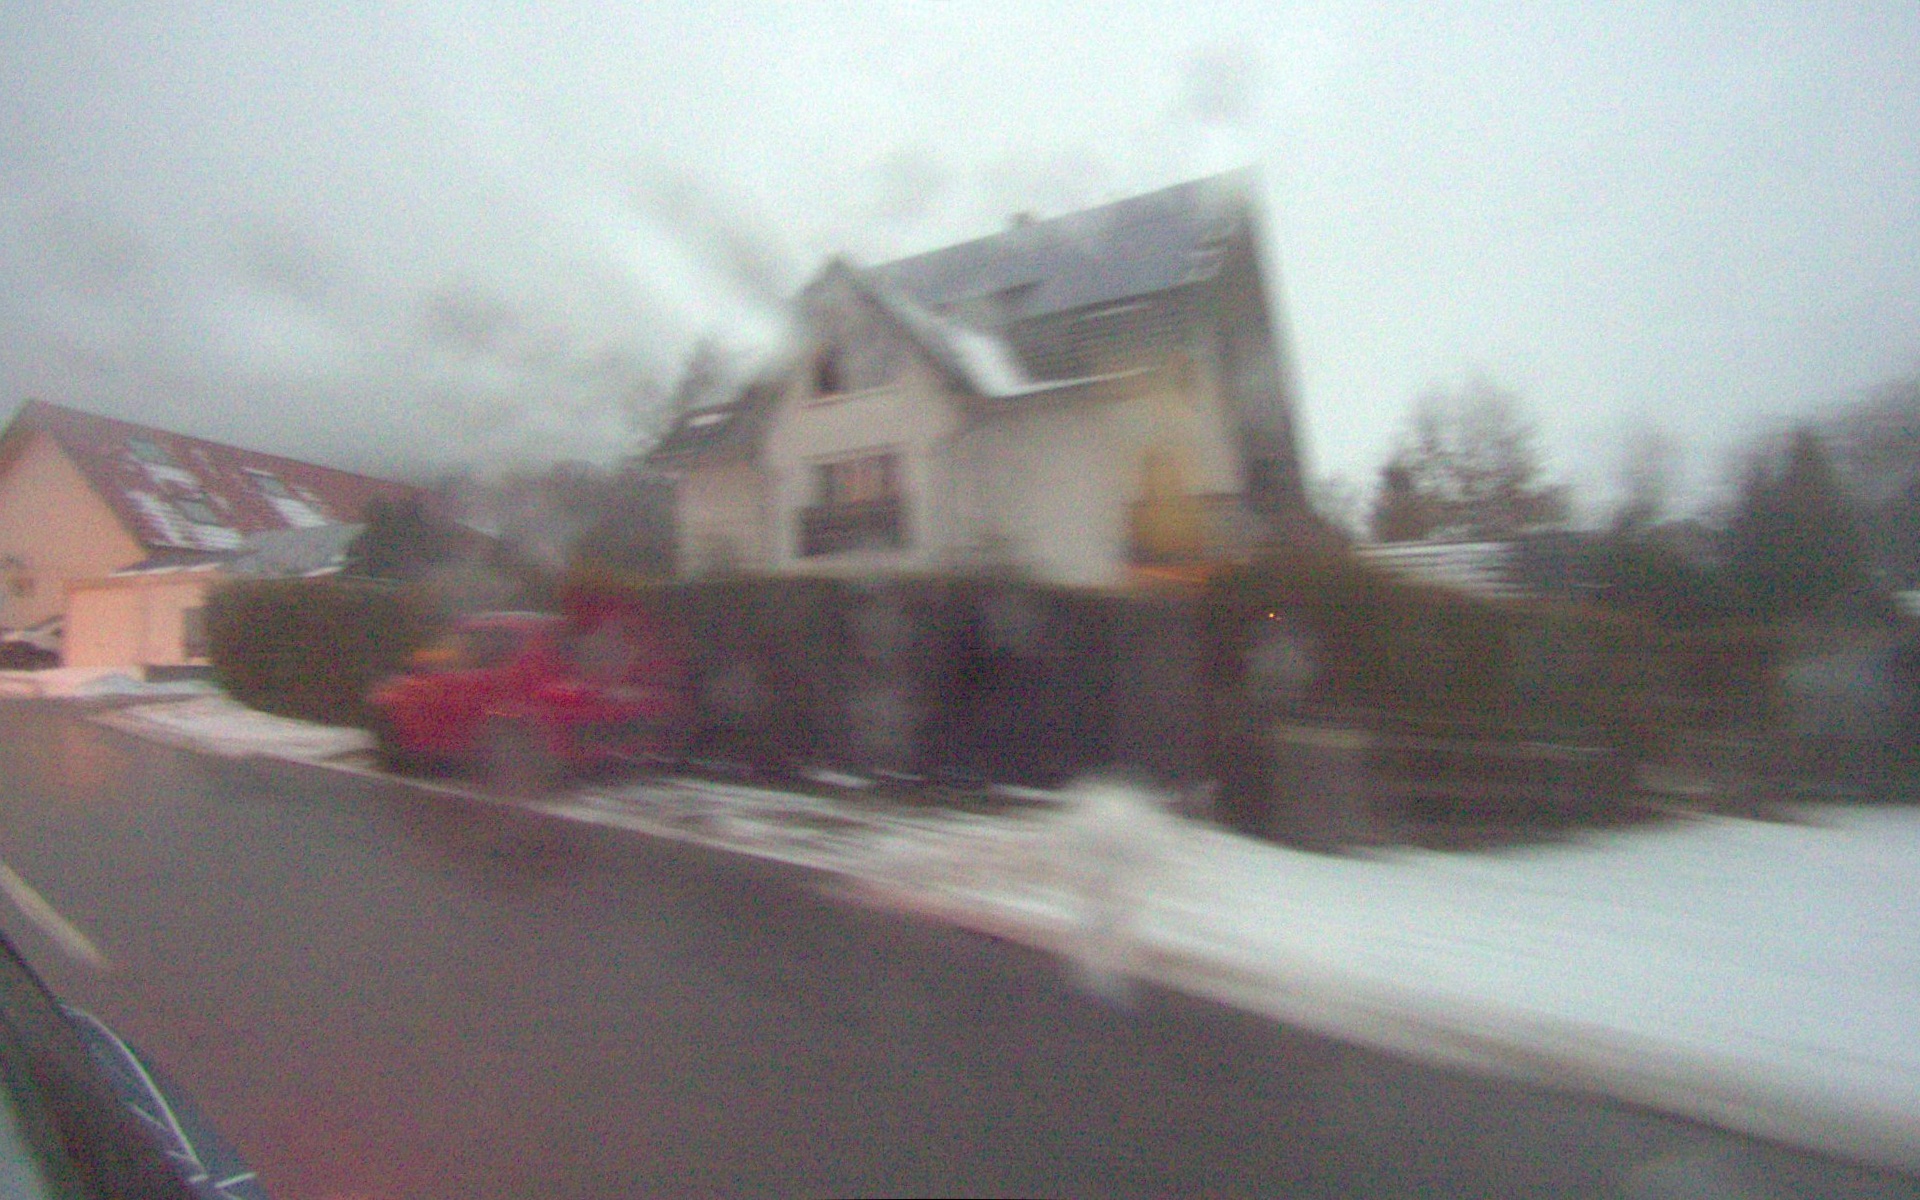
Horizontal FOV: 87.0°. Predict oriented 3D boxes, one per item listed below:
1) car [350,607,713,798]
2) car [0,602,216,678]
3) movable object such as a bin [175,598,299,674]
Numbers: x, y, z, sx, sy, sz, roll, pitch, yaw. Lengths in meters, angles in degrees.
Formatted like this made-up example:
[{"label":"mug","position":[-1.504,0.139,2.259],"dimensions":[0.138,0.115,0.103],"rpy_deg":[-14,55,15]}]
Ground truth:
[{"label":"car","position":[-4.266,0.916,9.954],"dimensions":[3.509,1.546,1.703],"rpy_deg":[-2,-4,36]},{"label":"car","position":[-26.225,1.230,30.817],"dimensions":[2.207,2.029,5.222],"rpy_deg":[3,-2,31]},{"label":"movable object such as a bin","position":[-17.313,0.831,24.304],"dimensions":[2.332,1.661,1.445],"rpy_deg":[-2,0,-35]}]
